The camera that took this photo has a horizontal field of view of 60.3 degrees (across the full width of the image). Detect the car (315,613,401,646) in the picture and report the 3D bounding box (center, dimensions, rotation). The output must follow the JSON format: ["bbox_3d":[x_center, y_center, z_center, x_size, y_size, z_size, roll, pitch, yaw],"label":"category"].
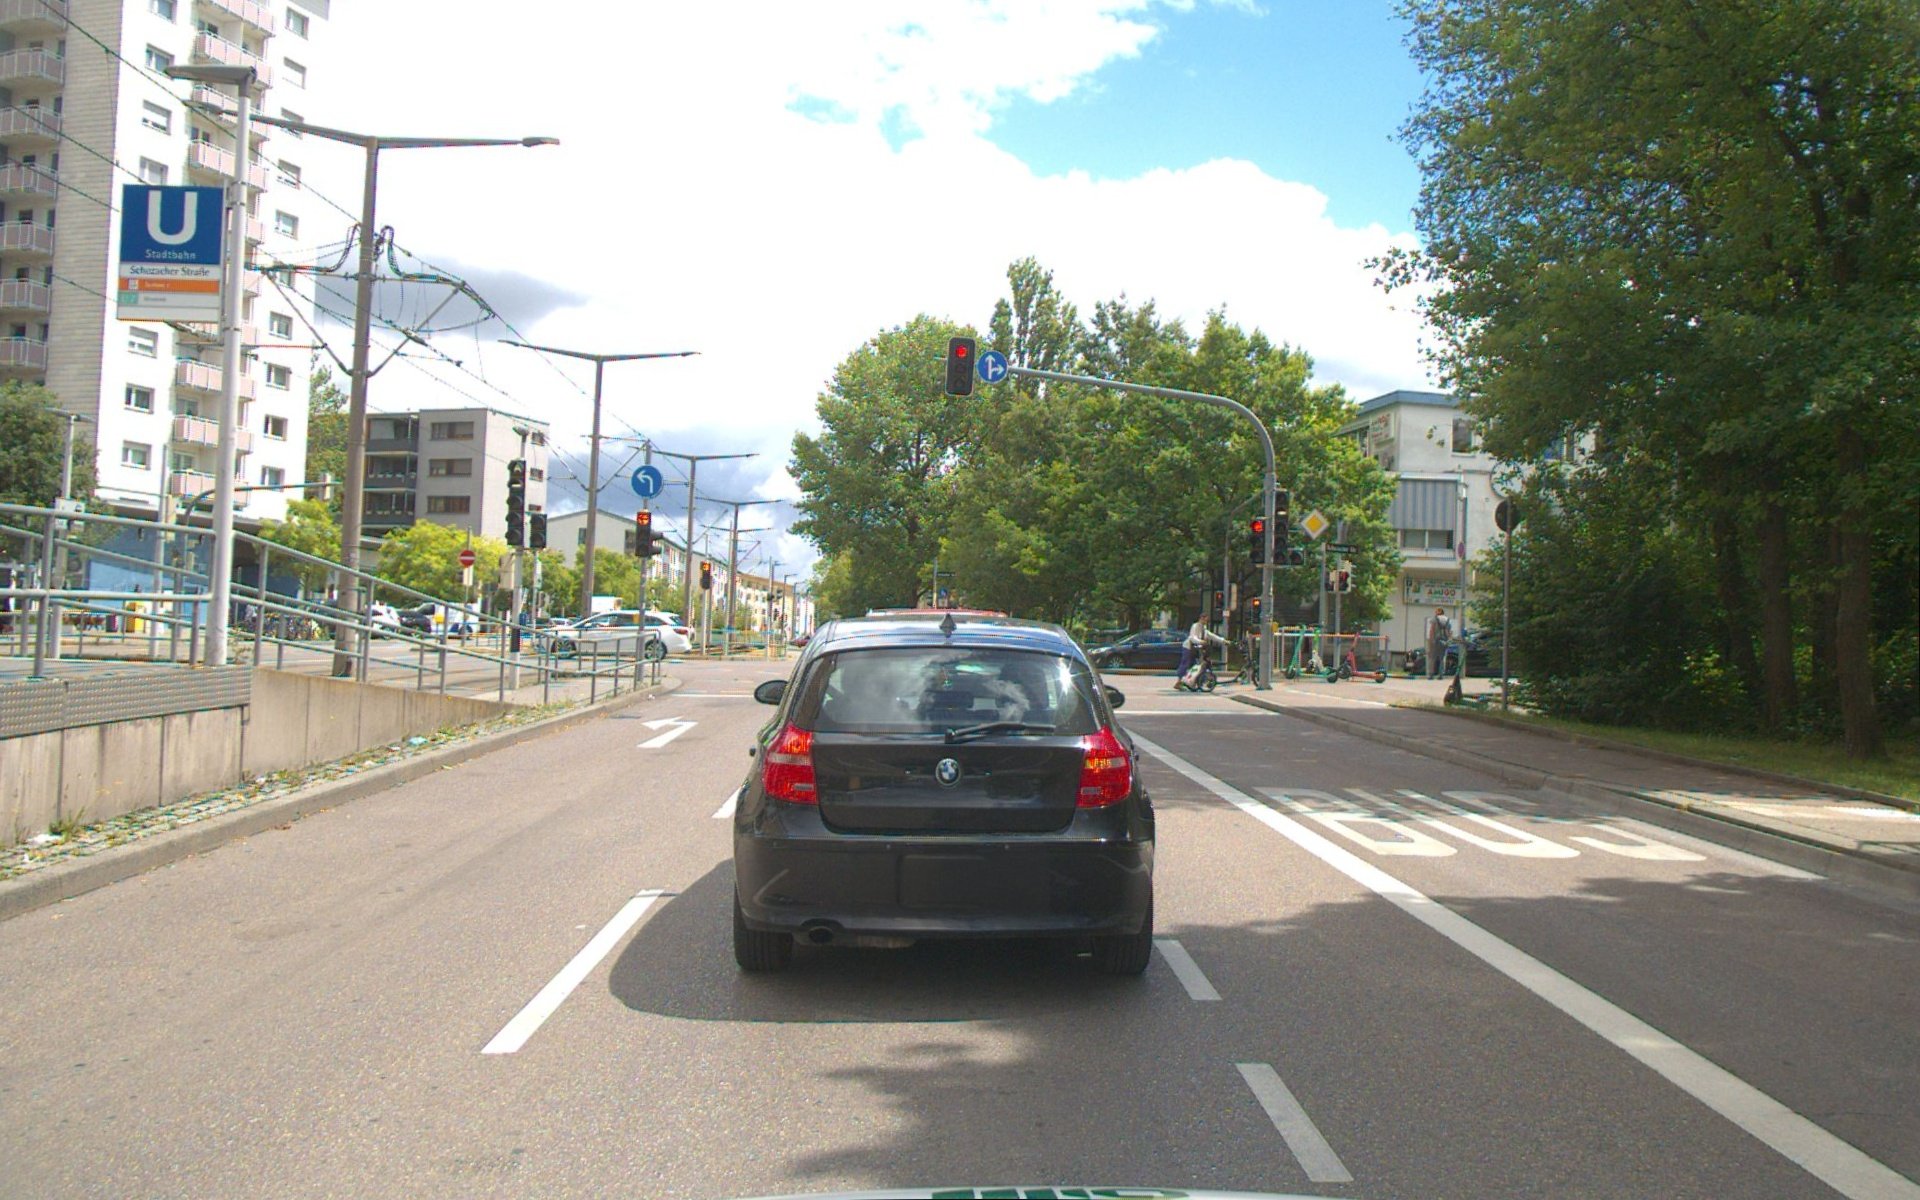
[{"bbox_3d":[-28.691,1.393,78.912,3.537,1.488,1.613,1,0,-9],"label":"car"}]

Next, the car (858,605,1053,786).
[{"bbox_3d":[-0.036,0.780,15.181,1.562,1.443,3.516,1,0,0],"label":"car"}]

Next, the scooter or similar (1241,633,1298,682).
[{"bbox_3d":[6.219,1.148,33.244,1.102,0.974,0.299,1,-1,-17],"label":"scooter or similar"}]

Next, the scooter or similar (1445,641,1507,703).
[{"bbox_3d":[9.413,1.314,30.176,1.133,1.118,0.329,1,-1,-25],"label":"scooter or similar"}]

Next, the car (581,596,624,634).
[{"bbox_3d":[-26.206,1.087,121.396,2.096,2.686,5.356,1,0,-2],"label":"car"}]

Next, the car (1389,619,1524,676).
[{"bbox_3d":[14.963,1.425,49.895,3.515,1.629,1.706,1,-1,-13],"label":"car"}]

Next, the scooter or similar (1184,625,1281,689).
[{"bbox_3d":[5.167,1.067,31.347,1.751,1.069,0.409,-3,1,-15],"label":"scooter or similar"}]

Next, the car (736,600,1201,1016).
[{"bbox_3d":[0.060,0.738,7.602,1.620,1.443,3.517,1,0,1],"label":"car"}]

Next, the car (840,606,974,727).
[{"bbox_3d":[-0.719,0.825,22.063,1.621,1.443,3.515,1,0,-2],"label":"car"}]

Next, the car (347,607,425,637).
[{"bbox_3d":[-29.781,1.143,85.843,3.537,1.488,1.613,1,0,-9],"label":"car"}]

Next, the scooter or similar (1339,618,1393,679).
[{"bbox_3d":[8.683,1.034,35.397,1.087,1.280,0.331,1,-1,-13],"label":"scooter or similar"}]

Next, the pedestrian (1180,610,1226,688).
[{"bbox_3d":[4.645,0.924,31.684,0.846,1.468,0.799,1,0,7],"label":"pedestrian"}]

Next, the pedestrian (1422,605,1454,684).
[{"bbox_3d":[11.378,1.050,39.345,0.600,1.821,0.569,4,-1,18],"label":"pedestrian"}]

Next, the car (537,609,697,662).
[{"bbox_3d":[-10.109,1.033,49.102,4.554,1.506,1.995,1,0,-10],"label":"car"}]

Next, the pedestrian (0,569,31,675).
[{"bbox_3d":[-15.310,0.347,26.318,0.622,1.661,0.704,0,0,9],"label":"pedestrian"}]

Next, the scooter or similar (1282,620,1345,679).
[{"bbox_3d":[7.388,1.038,34.568,1.267,1.210,0.383,1,-1,-17],"label":"scooter or similar"}]

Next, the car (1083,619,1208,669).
[{"bbox_3d":[5.744,1.352,51.355,3.537,1.488,1.613,1,0,-9],"label":"car"}]
